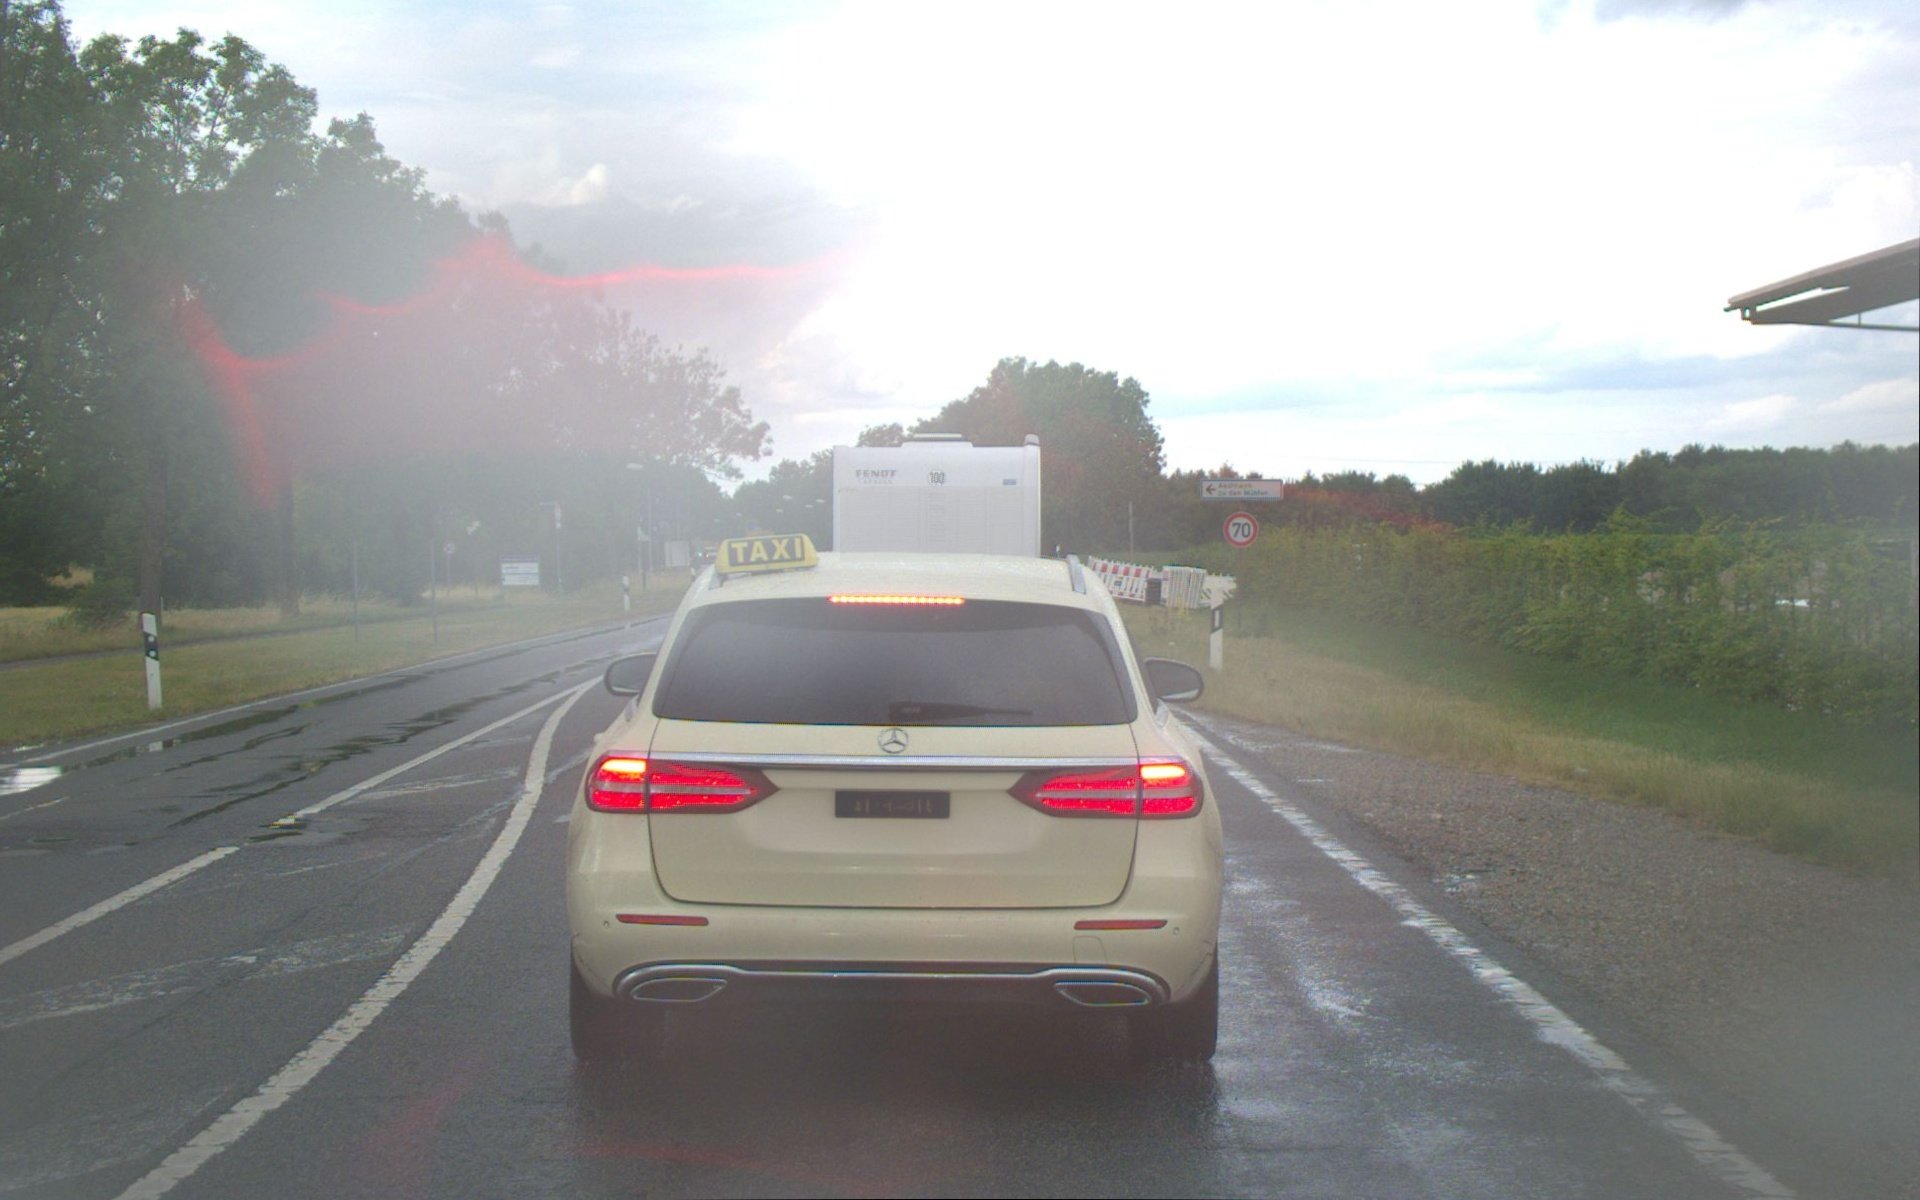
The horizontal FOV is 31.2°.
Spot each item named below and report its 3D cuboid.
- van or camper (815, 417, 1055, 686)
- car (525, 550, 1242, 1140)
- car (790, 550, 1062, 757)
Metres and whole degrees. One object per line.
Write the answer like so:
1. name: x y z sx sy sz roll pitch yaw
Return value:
1. van or camper: -0.245 -0.565 39.943 2.497 2.821 5.934 -2 1 1
2. car: -0.194 0.587 10.670 1.797 1.459 4.031 0 1 0
3. car: -0.241 0.345 25.896 1.894 1.424 3.928 0 1 0
